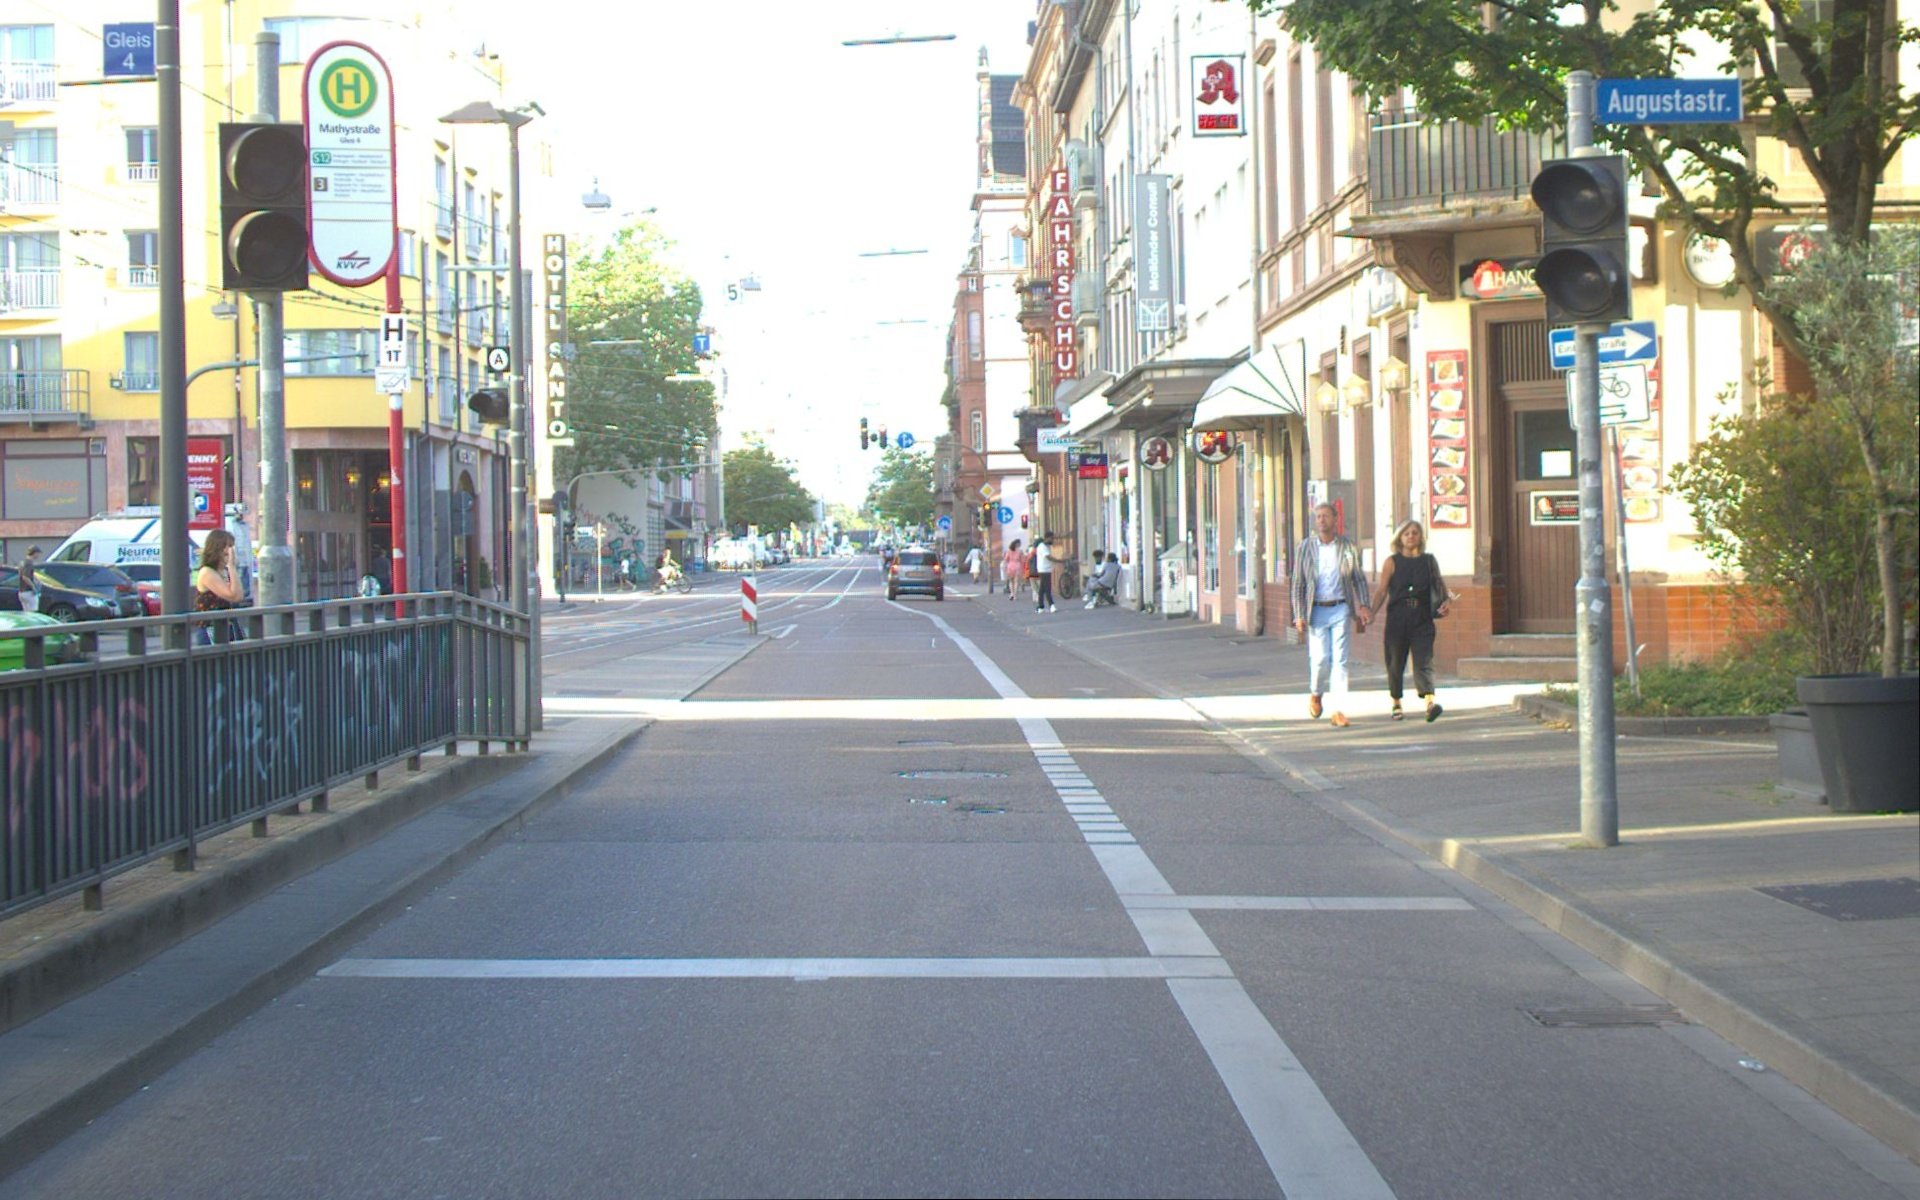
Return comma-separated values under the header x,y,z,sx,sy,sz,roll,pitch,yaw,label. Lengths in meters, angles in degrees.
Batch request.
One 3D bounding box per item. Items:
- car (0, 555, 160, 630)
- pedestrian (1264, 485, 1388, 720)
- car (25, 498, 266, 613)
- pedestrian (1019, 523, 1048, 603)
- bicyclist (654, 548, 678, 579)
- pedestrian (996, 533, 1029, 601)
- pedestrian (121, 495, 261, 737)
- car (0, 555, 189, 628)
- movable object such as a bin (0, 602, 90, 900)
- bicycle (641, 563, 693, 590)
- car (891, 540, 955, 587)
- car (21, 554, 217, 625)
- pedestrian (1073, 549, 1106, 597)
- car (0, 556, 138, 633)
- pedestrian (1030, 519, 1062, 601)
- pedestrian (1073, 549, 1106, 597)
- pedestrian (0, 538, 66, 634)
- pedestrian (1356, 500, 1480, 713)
x,y,z,sx,sy,sz,roll,pitch,yaw,label
-19.192,-0.157,72.903,3.987,1.505,1.800,-1,1,0,car
2.873,0.006,27.034,0.713,1.768,0.773,-5,2,-4,pedestrian
-19.050,-1.045,80.583,5.105,2.567,2.128,-1,1,0,car
1.654,-0.846,77.764,0.560,1.790,0.650,-2,1,6,pedestrian
-11.847,-1.472,138.425,0.710,1.216,0.753,-2,1,17,bicyclist
1.480,-0.944,97.645,0.843,1.911,0.662,-2,1,-3,pedestrian
-5.547,0.103,24.839,0.869,1.708,0.788,0,2,-3,pedestrian
-19.138,-0.204,75.484,3.987,1.505,1.800,-1,1,0,car
-3.111,0.489,11.299,0.352,0.941,0.530,-2,1,-2,movable object such as a bin
-11.798,-0.949,138.423,1.935,1.000,0.753,-2,1,17,bicycle
-1.223,-1.182,111.092,1.993,1.444,4.000,-1,1,-1,car
-19.053,-0.252,78.016,3.987,1.505,1.800,-1,1,0,car
2.875,-0.601,76.318,0.690,1.040,0.680,-2,1,3,pedestrian
-19.183,-0.099,70.205,4.319,1.505,1.800,-1,1,0,car
1.911,-0.882,76.192,0.648,1.790,0.561,-2,1,3,pedestrian
2.848,-0.594,75.556,0.690,1.040,0.680,-2,1,3,pedestrian
-17.886,-0.275,65.912,1.148,1.808,0.911,-2,1,-35,pedestrian
3.592,0.040,27.010,0.713,1.597,0.773,-5,2,-4,pedestrian
